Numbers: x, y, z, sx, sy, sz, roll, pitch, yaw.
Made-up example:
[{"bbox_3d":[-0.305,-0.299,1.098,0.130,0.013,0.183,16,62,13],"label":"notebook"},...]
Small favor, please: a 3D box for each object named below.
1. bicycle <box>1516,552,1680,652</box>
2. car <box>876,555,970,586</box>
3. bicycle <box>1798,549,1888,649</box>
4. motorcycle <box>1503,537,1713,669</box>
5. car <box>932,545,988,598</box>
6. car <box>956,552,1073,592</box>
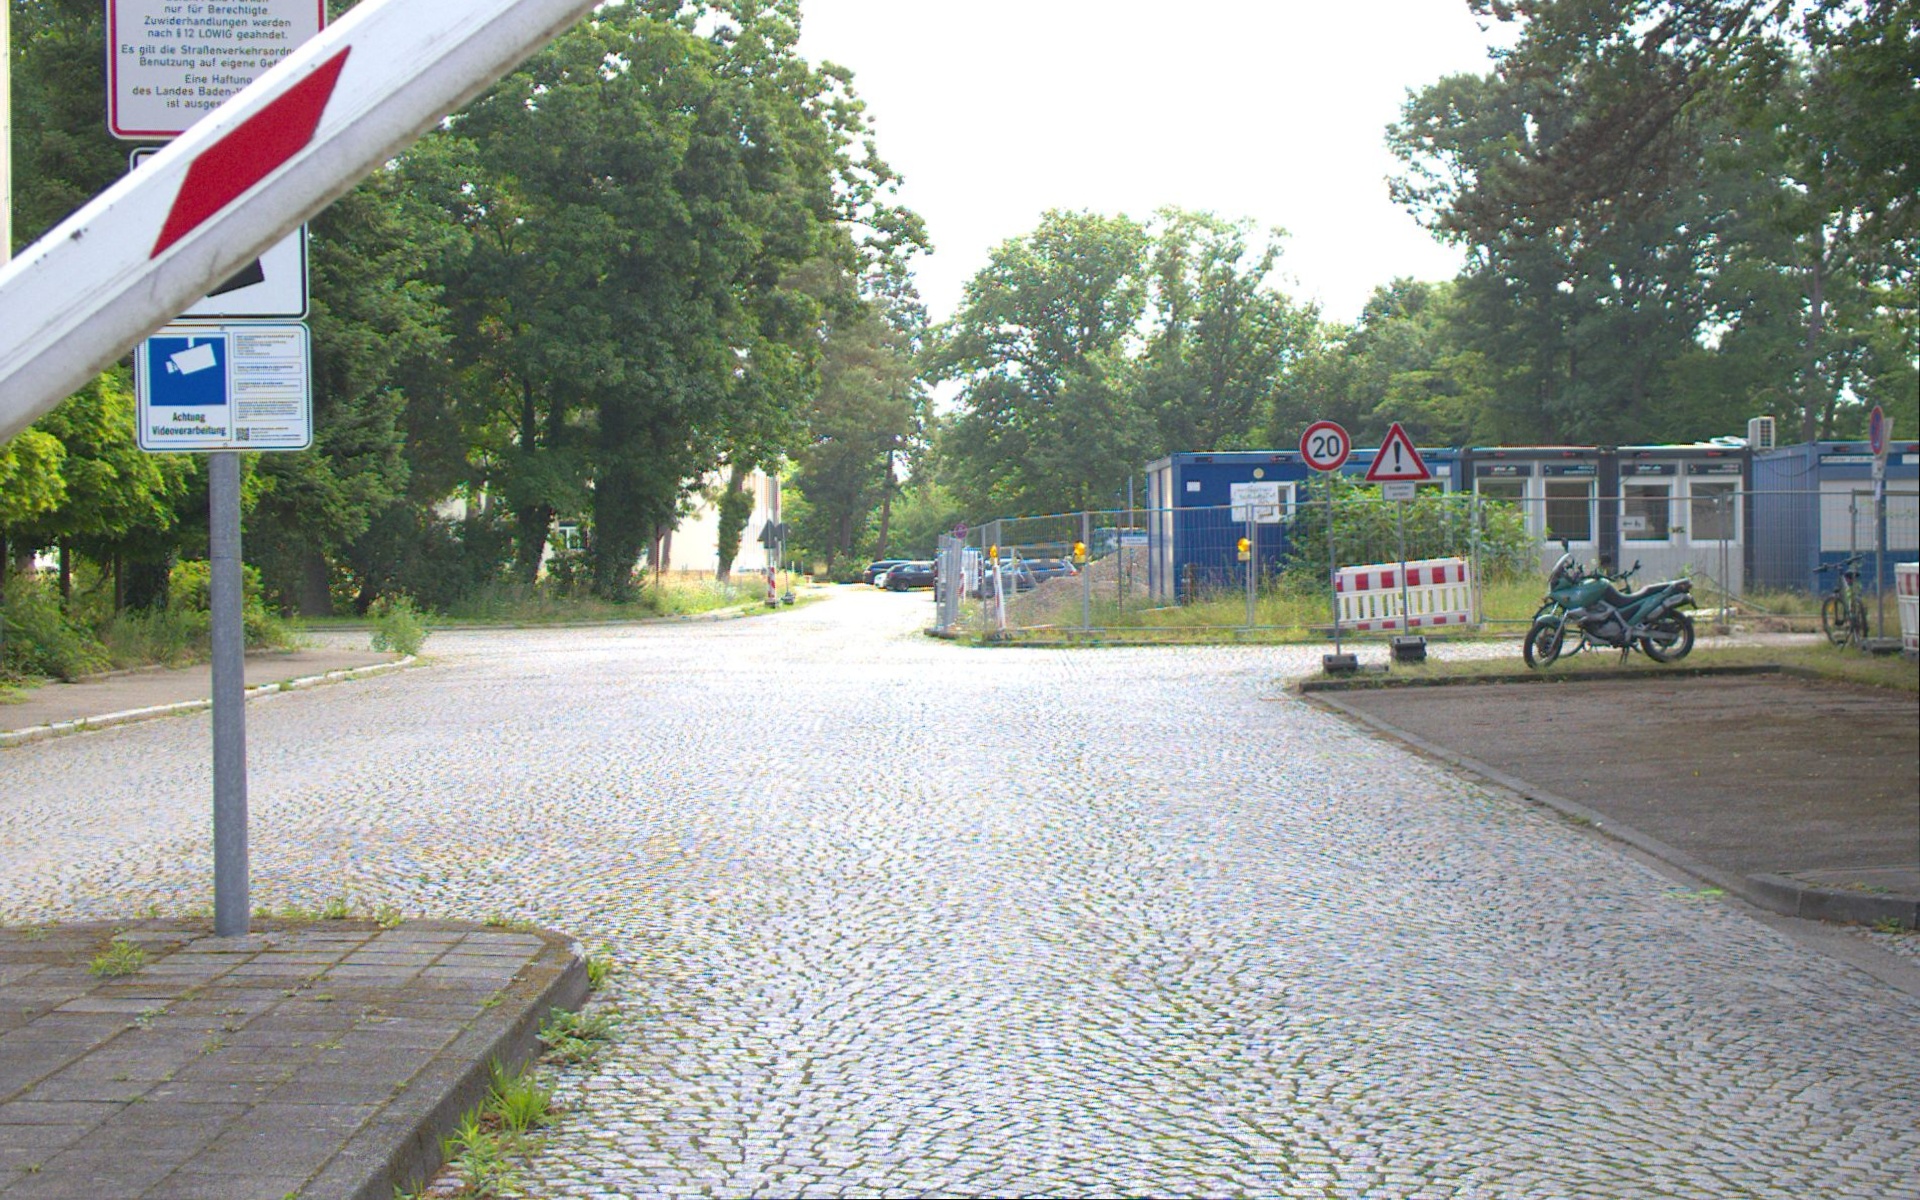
[{"bbox_3d":[7.918,0.024,42.666,1.900,1.193,0.655,-1,1,19],"label":"bicycle"},{"bbox_3d":[-1.973,-1.563,181.194,4.779,1.635,2.000,0,0,-5],"label":"car"},{"bbox_3d":[10.693,-0.025,41.689,0.642,1.165,1.905,-1,1,2],"label":"bicycle"},{"bbox_3d":[7.564,0.024,40.180,2.276,1.480,0.757,-1,1,-5],"label":"motorcycle"},{"bbox_3d":[-0.016,-1.096,131.392,1.993,2.007,4.091,0,0,-2],"label":"car"},{"bbox_3d":[2.188,-1.127,136.778,4.404,1.505,1.999,1,1,8],"label":"car"}]
